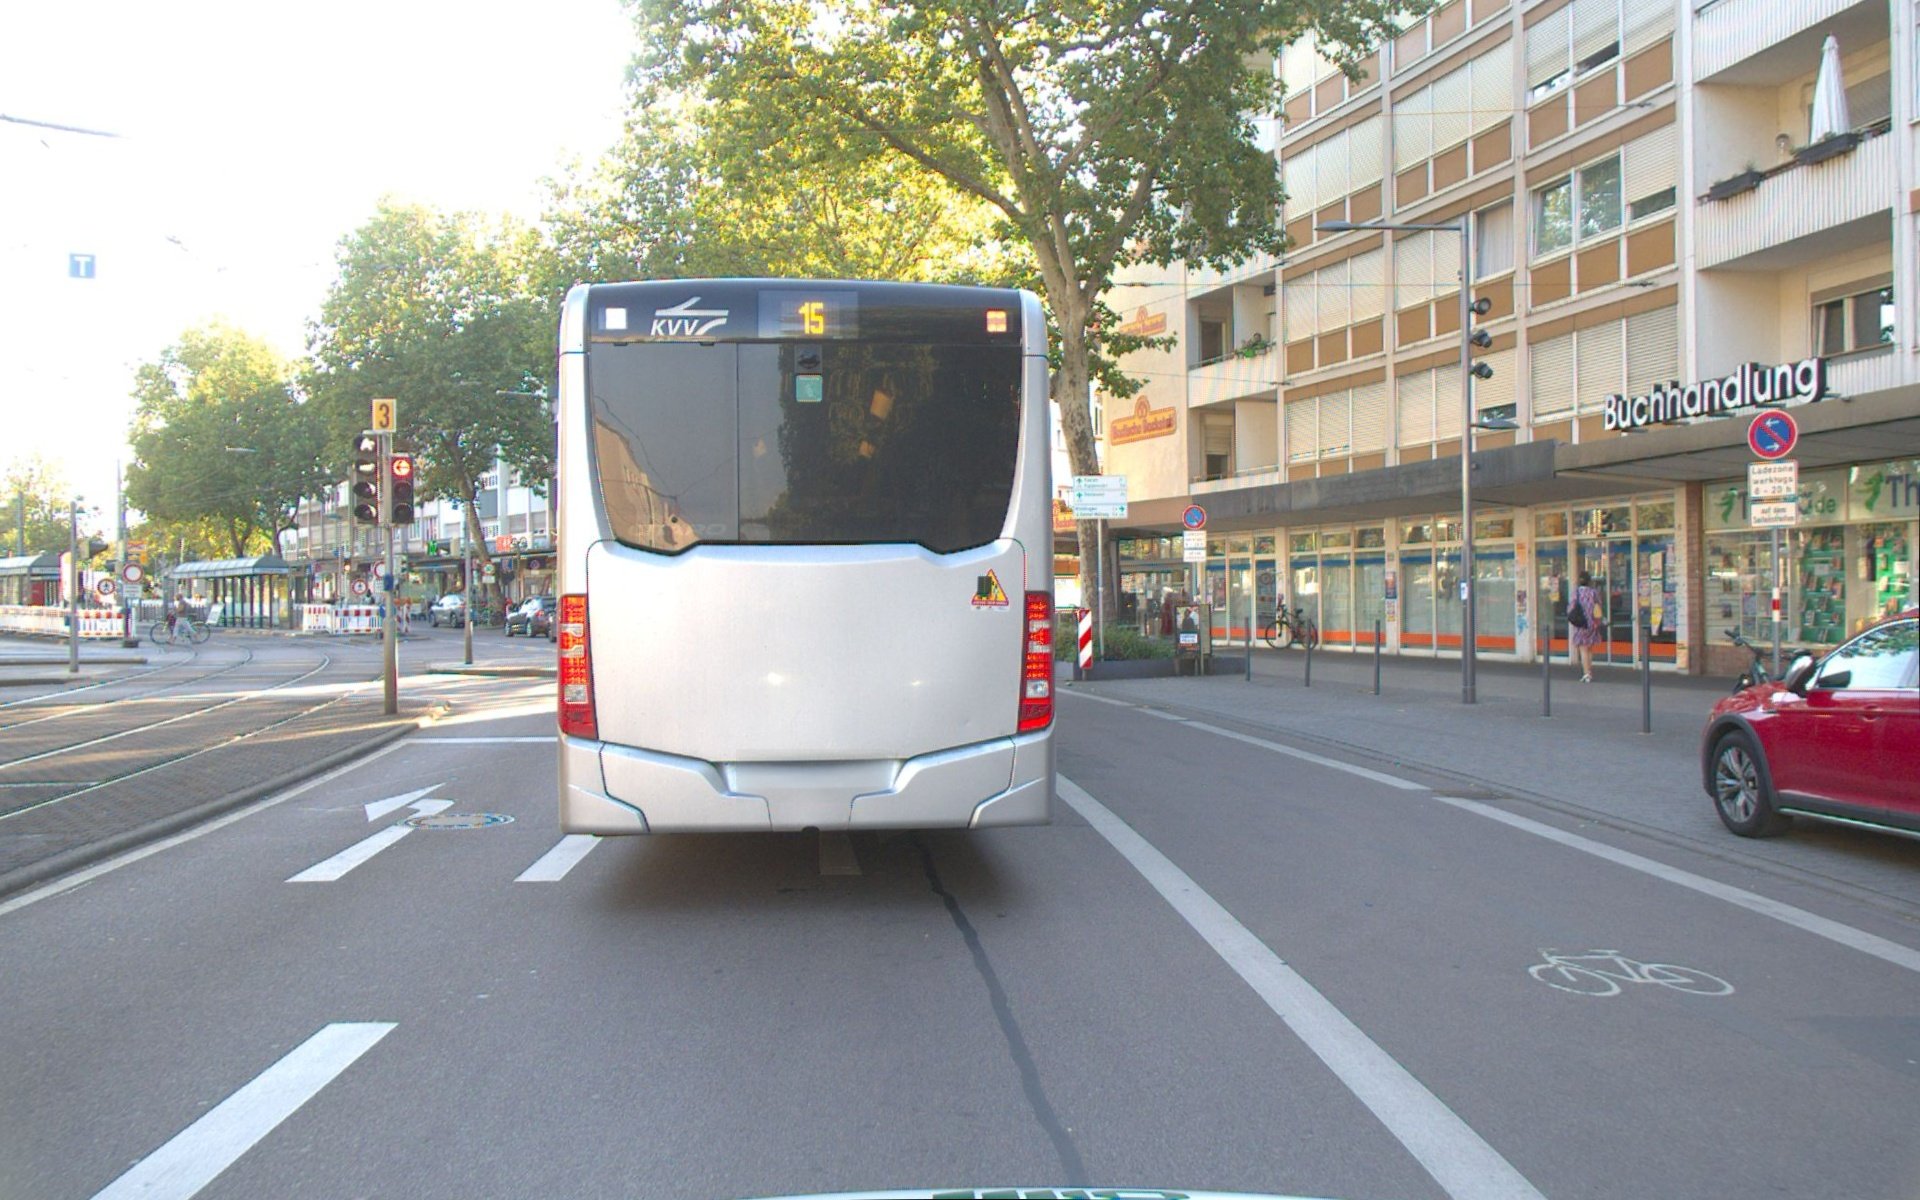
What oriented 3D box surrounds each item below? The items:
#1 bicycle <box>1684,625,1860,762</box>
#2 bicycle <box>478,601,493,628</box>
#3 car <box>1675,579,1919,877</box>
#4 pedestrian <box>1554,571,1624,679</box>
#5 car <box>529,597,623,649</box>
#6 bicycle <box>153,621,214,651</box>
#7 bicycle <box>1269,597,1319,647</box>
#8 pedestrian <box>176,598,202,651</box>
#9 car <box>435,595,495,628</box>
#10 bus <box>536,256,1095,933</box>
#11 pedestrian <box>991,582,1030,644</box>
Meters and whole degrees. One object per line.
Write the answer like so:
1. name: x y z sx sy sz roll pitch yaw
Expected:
1. bicycle: 7.169 0.792 14.691 0.502 1.089 1.658 -3 1 -9
2. bicycle: -22.329 0.691 77.818 0.499 1.232 2.080 -1 0 -21
3. car: 5.924 0.667 9.037 1.744 1.522 4.563 -3 0 -4
4. pedestrian: 9.398 0.370 24.725 0.628 1.579 0.805 -1 0 -14
5. car: -11.649 0.672 50.009 1.737 1.489 3.961 -1 0 -29
6. bicycle: -26.541 1.227 56.532 1.830 0.959 0.456 -1 0 -42
7. bicycle: 7.770 0.505 38.517 0.431 1.111 1.453 -3 1 -19
8. pedestrian: -26.197 0.824 56.226 0.716 1.755 0.393 -1 0 -41
9. car: -24.245 0.550 80.906 1.651 1.494 3.366 -5 3 -38
10. bus: -1.091 -0.031 12.918 2.606 3.153 10.205 -1 0 -5
11. pedestrian: 1.463 0.364 47.892 0.824 1.742 0.787 -3 1 -24
